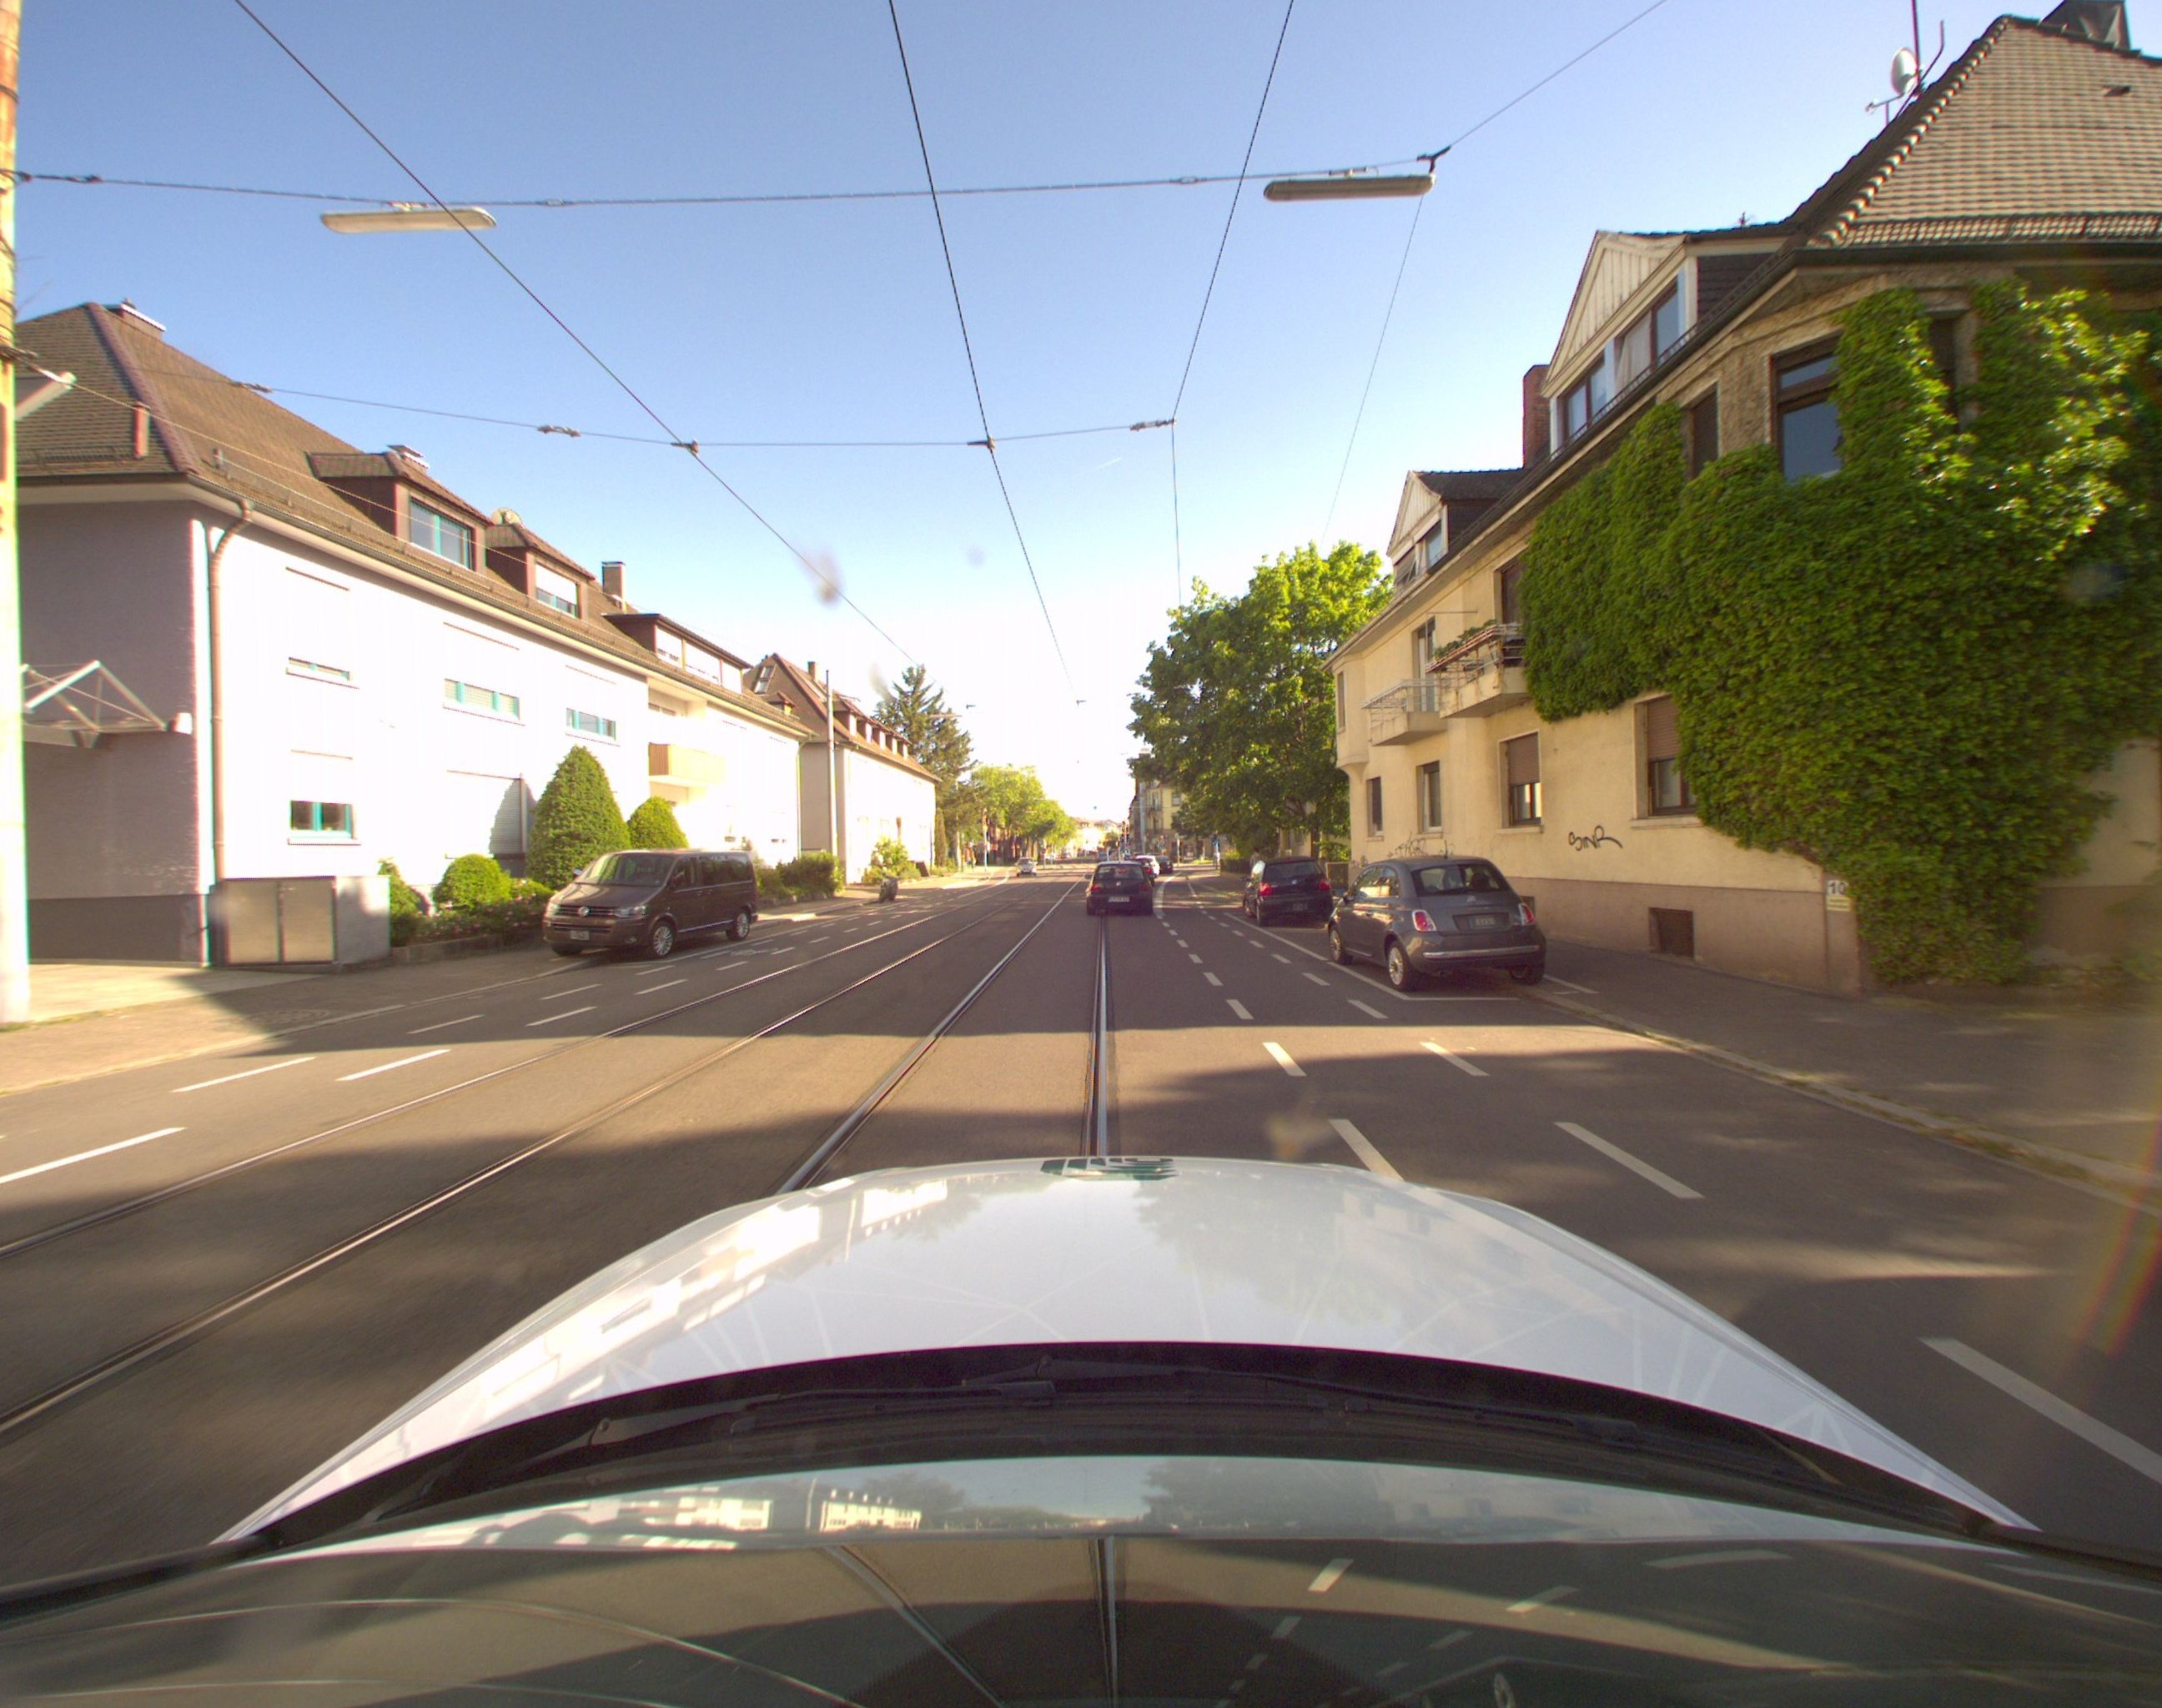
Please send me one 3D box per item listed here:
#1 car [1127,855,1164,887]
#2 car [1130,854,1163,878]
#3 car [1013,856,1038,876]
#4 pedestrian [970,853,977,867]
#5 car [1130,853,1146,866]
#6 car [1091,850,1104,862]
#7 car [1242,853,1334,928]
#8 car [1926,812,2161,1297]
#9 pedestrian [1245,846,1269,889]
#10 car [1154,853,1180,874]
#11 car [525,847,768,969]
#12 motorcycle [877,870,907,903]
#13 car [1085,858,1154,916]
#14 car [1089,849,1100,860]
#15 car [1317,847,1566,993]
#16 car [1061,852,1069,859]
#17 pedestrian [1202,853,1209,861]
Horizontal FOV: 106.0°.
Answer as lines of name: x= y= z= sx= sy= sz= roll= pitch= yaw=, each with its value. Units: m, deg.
car: x=3.069 y=0.790 z=39.379 sx=1.628 sy=1.372 sz=3.759 roll=-2 pitch=0 yaw=2
car: x=4.352 y=0.780 z=53.682 sx=1.729 sy=1.441 sz=3.820 roll=-2 pitch=0 yaw=10
car: x=-4.233 y=0.899 z=62.647 sx=1.569 sy=1.477 sz=3.442 roll=-2 pitch=0 yaw=2
pedestrian: x=-12.904 y=0.725 z=97.843 sx=0.610 sy=1.689 sz=0.729 roll=1 pitch=0 yaw=-17
car: x=6.666 y=0.581 z=95.302 sx=1.675 sy=1.453 sz=3.378 roll=-2 pitch=0 yaw=0
car: x=2.523 y=0.278 z=124.750 sx=1.781 sy=1.860 sz=3.999 roll=1 pitch=0 yaw=0
car: x=4.711 y=0.769 z=18.951 sx=1.656 sy=1.564 sz=3.779 roll=0 pitch=0 yaw=8
car: x=4.289 y=0.664 z=1.794 sx=1.452 sy=1.599 sz=3.293 roll=0 pitch=0 yaw=0
pedestrian: x=7.175 y=0.530 z=33.267 sx=0.715 sy=1.688 sz=0.870 roll=-3 pitch=0 yaw=0
car: x=6.538 y=0.710 z=62.268 sx=1.565 sy=1.311 sz=3.646 roll=-2 pitch=2 yaw=-1
car: x=-8.163 y=0.880 z=15.975 sx=1.898 sy=2.014 sz=4.952 roll=0 pitch=0 yaw=3
motorcycle: x=-7.325 y=1.239 z=31.629 sx=0.534 sy=1.162 sz=2.173 roll=-3 pitch=0 yaw=2
car: x=1.053 y=0.816 z=22.088 sx=1.709 sy=1.402 sz=4.009 roll=0 pitch=0 yaw=3
car: x=2.351 y=0.113 z=145.456 sx=1.781 sy=1.860 sz=3.999 roll=-2 pitch=0 yaw=0
car: x=4.300 y=0.688 z=10.334 sx=1.596 sy=1.525 sz=3.548 roll=0 pitch=0 yaw=0
car: x=-4.592 y=0.387 z=232.590 sx=1.967 sy=1.815 sz=4.292 roll=-2 pitch=0 yaw=-3
pedestrian: x=18.658 y=0.405 z=122.064 sx=0.976 sy=1.187 sz=0.743 roll=-2 pitch=0 yaw=1
